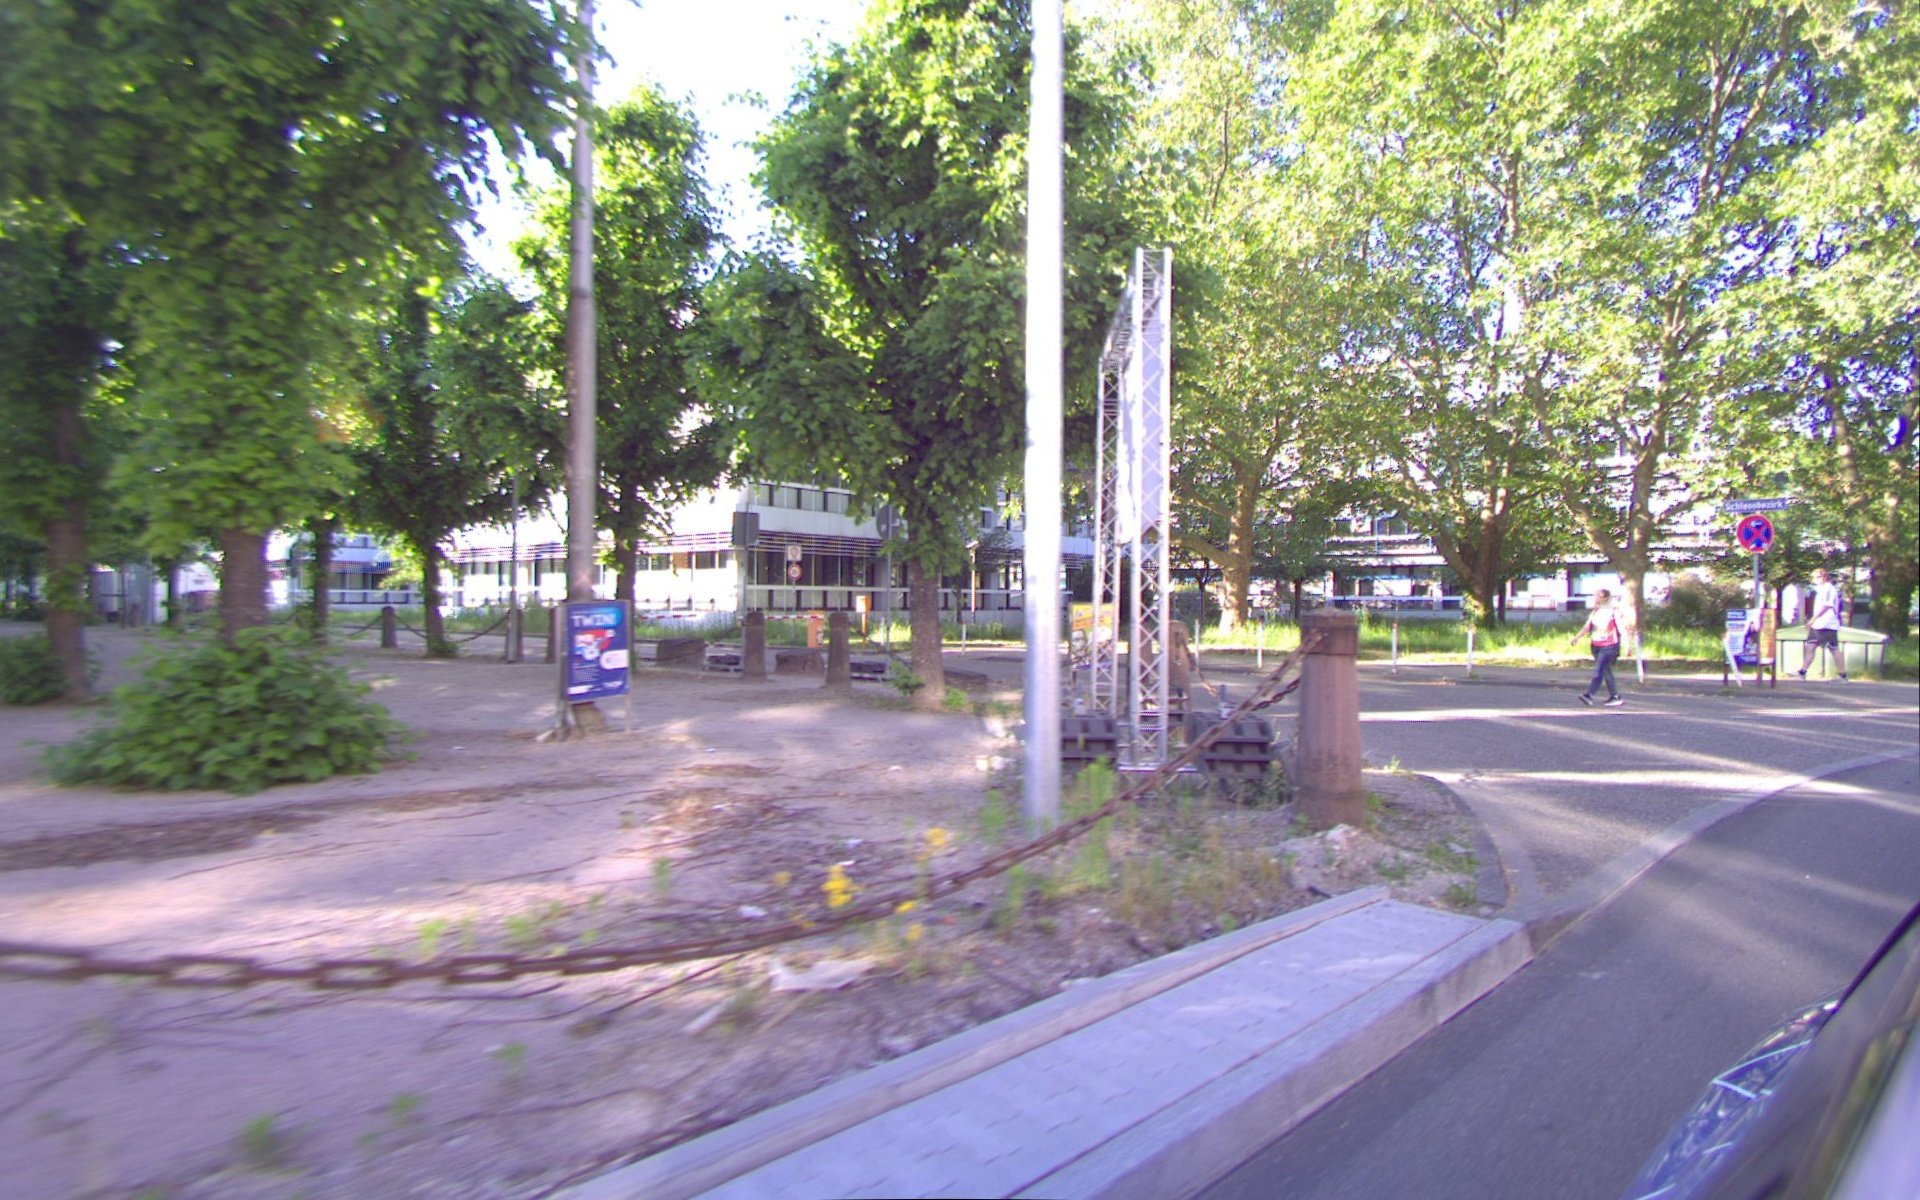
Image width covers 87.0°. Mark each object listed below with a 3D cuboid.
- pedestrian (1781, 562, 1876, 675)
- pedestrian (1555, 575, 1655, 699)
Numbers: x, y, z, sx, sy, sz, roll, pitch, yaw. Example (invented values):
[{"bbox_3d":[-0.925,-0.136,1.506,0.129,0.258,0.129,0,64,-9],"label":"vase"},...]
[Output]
[{"bbox_3d":[14.602,0.312,17.055,1.126,1.836,0.737,0,-2,36],"label":"pedestrian"},{"bbox_3d":[8.844,0.499,13.907,0.923,1.644,0.709,0,-1,8],"label":"pedestrian"}]
